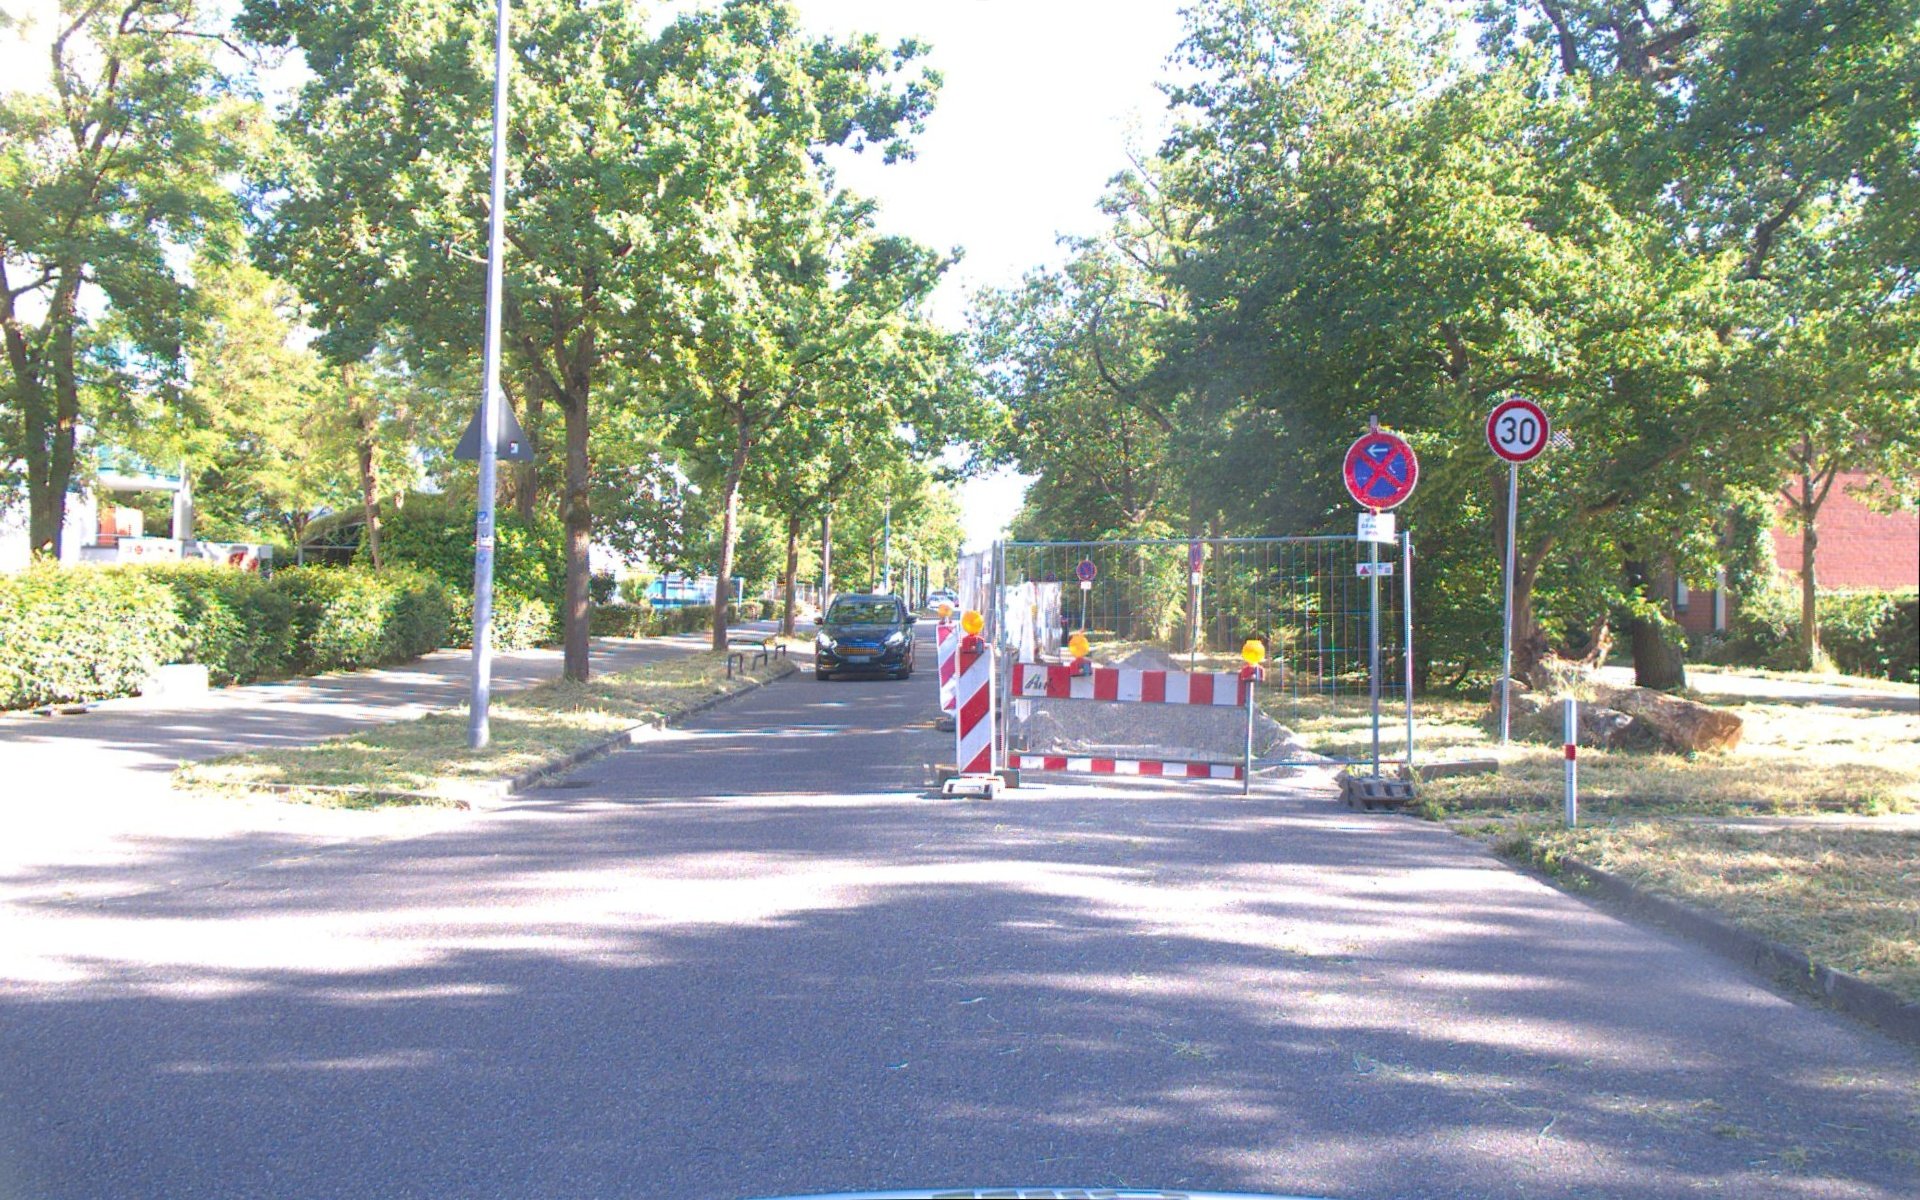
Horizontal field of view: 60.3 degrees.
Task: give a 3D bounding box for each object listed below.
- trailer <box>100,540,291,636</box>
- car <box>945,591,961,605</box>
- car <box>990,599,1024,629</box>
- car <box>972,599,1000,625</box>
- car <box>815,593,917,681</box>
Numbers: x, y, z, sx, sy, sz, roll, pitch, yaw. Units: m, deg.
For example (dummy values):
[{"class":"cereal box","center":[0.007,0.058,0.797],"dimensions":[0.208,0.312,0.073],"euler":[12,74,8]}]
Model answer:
[{"class":"trailer","center":[-17.721,-0.271,38.598],"dimensions":[1.934,2.078,4.433],"euler":[1,0,7]},{"class":"car","center":[-0.897,-0.198,198.676],"dimensions":[1.676,1.613,3.997],"euler":[2,-1,-3]},{"class":"car","center":[2.173,0.678,77.628],"dimensions":[1.334,1.325,3.480],"euler":[2,-1,-2]},{"class":"car","center":[1.402,0.673,90.597],"dimensions":[1.334,1.325,3.480],"euler":[2,-1,-2]},{"class":"car","center":[-1.841,0.700,33.643],"dimensions":[1.784,1.653,4.492],"euler":[-1,0,0]}]
